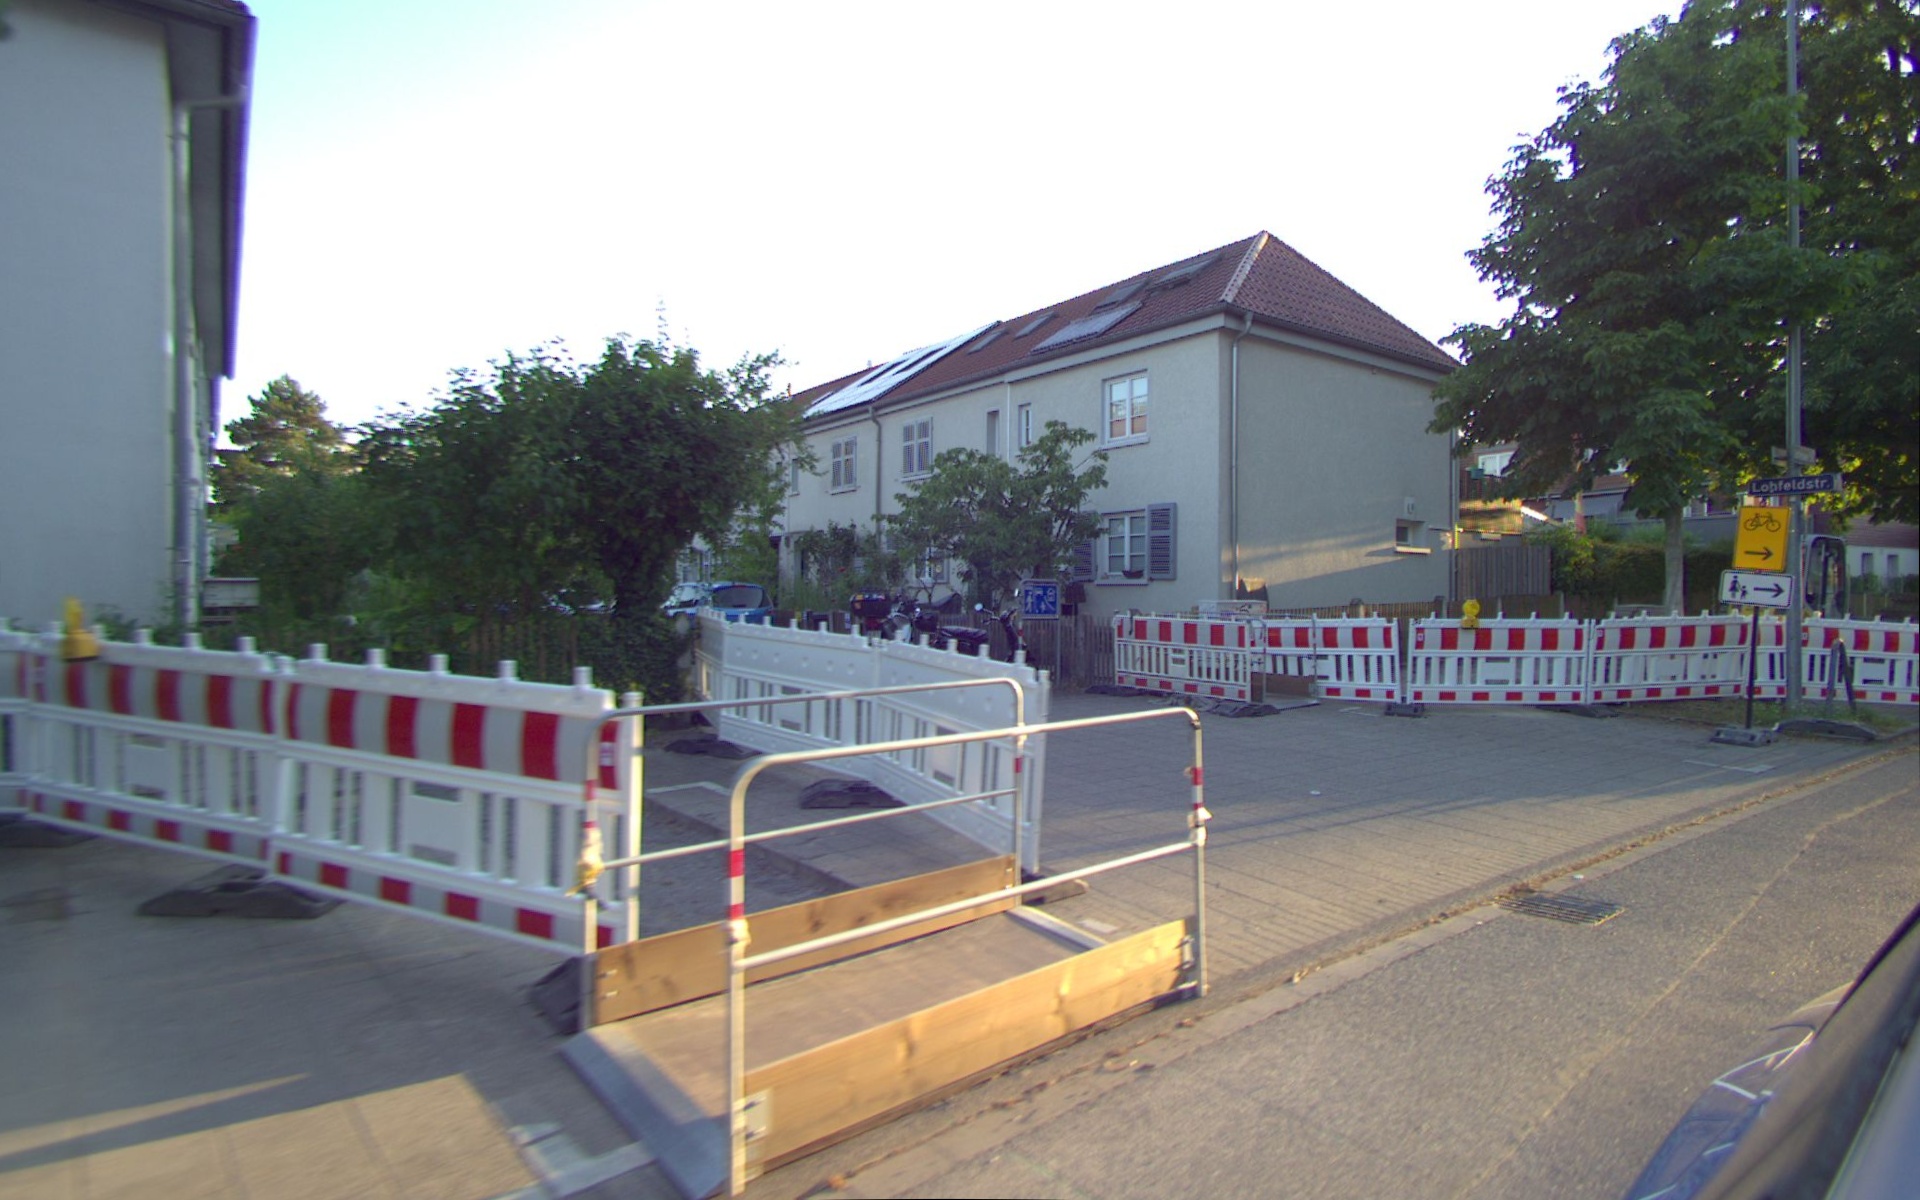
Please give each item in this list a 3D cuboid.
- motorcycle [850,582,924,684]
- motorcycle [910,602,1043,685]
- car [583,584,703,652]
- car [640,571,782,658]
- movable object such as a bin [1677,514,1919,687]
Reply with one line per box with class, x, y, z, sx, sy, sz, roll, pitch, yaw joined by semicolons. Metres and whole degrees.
motorcycle;-1.067;0.469;15.286;0.588;1.434;2.074;0;0;11
motorcycle;0.221;0.593;14.236;1.809;1.120;0.582;0;-1;-7
car;-7.969;0.422;25.267;1.770;1.572;3.641;0;0;-37
car;-5.314;0.285;21.309;1.687;1.658;3.633;0;0;-35
movable object such as a bin;14.295;0.013;16.926;5.107;2.433;2.632;0;-1;-41
